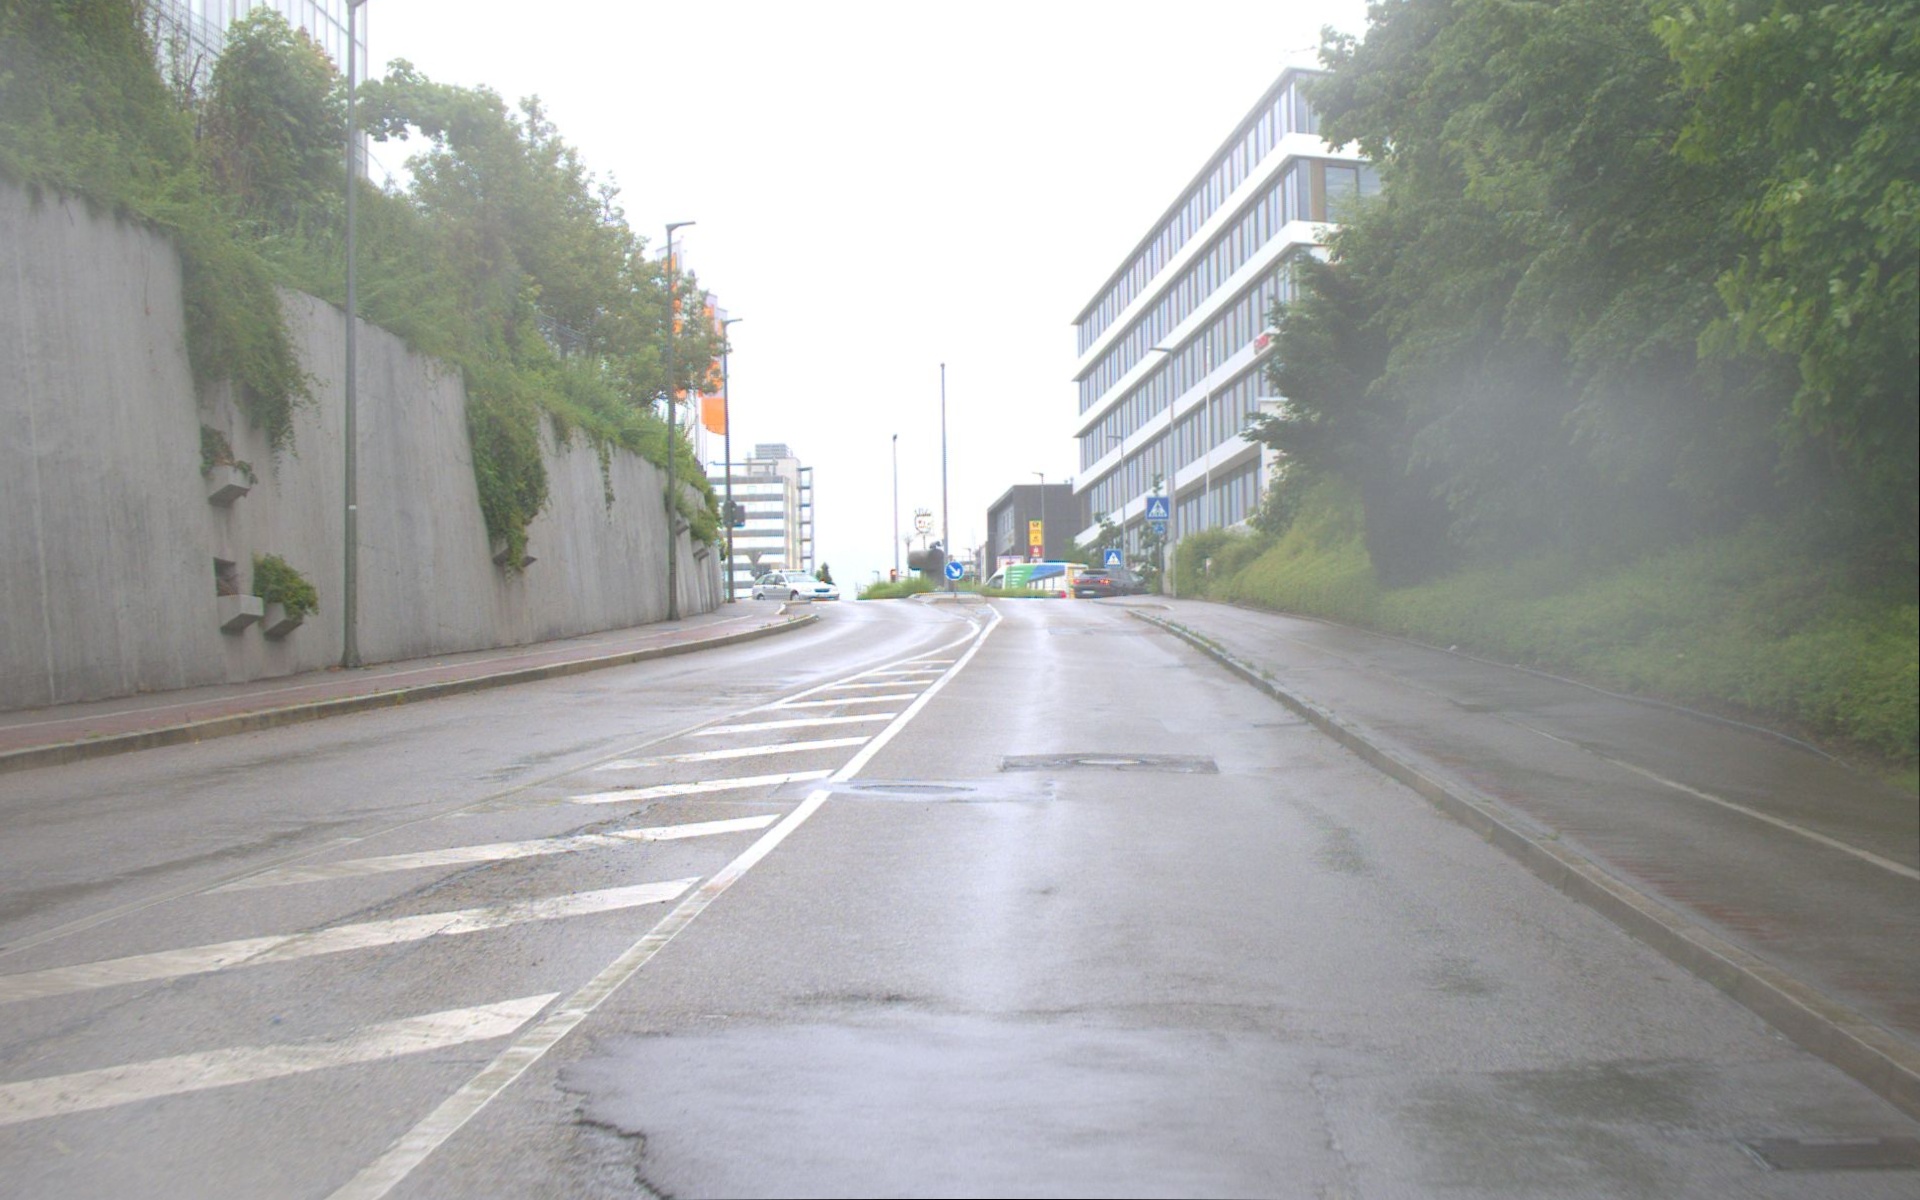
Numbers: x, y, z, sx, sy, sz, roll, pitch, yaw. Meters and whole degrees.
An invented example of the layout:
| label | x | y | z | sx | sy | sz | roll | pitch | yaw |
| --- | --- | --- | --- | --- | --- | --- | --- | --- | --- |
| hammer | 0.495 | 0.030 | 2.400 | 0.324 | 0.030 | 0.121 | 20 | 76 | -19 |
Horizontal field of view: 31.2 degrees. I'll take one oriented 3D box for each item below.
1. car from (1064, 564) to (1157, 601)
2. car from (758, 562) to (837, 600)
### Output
| label | x | y | z | sx | sy | sz | roll | pitch | yaw |
| --- | --- | --- | --- | --- | --- | --- | --- | --- | --- |
| car | 5.884 | -0.700 | 134.147 | 1.797 | 1.405 | 4.208 | 0 | 1 | 32 |
| car | -6.291 | -0.738 | 133.035 | 1.639 | 1.357 | 4.251 | 2 | 0 | -23 |
